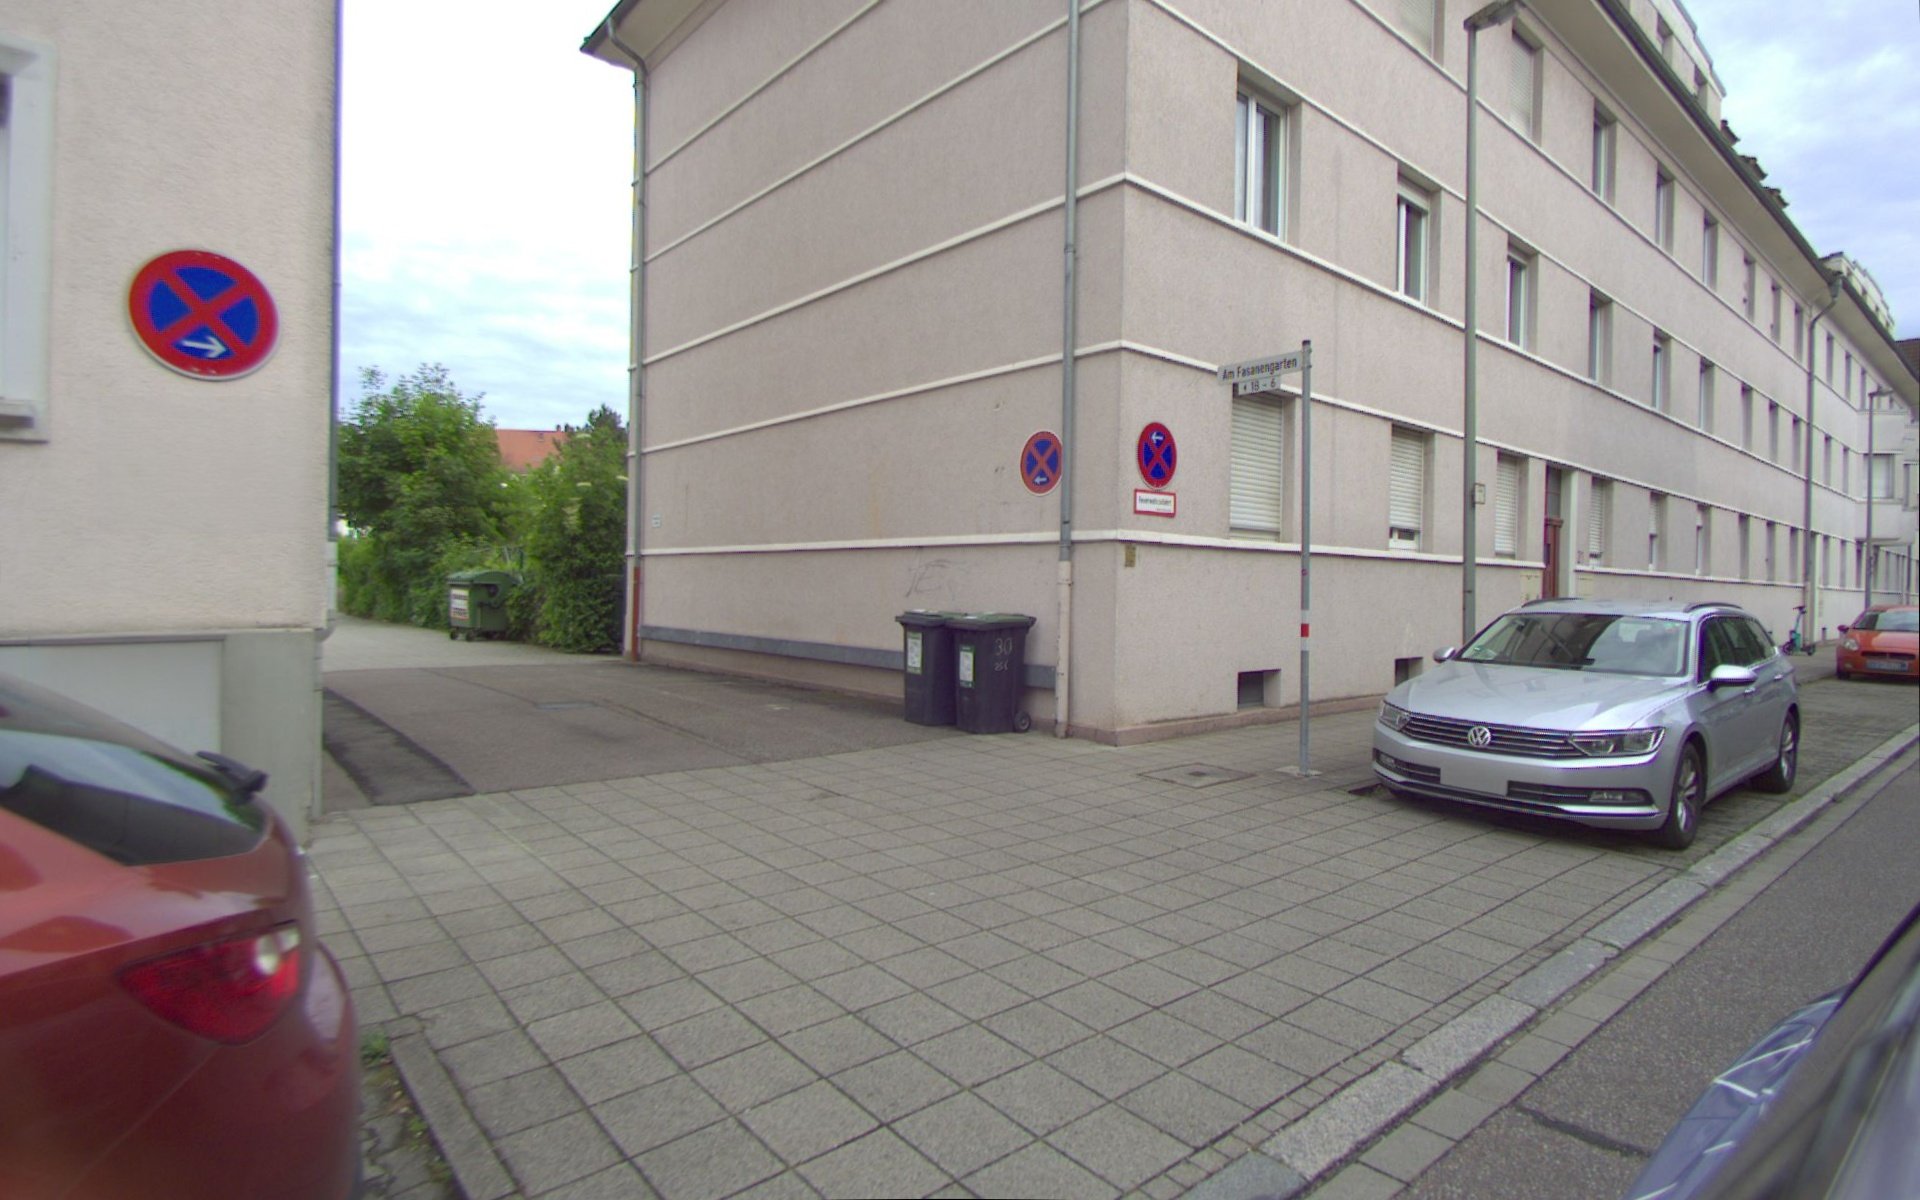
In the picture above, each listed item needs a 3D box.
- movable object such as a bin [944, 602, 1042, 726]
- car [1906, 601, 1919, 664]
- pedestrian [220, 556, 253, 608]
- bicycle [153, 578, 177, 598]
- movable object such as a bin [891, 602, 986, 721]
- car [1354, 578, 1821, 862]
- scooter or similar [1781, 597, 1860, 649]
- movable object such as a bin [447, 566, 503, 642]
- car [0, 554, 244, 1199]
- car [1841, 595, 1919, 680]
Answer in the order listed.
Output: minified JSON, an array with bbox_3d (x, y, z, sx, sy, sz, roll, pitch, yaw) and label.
[{"bbox_3d":[0.299,0.558,9.207,0.692,1.055,0.550,0,1,-38],"label":"movable object such as a bin"},{"bbox_3d":[23.160,0.752,23.523,3.252,1.430,1.352,0,1,-41],"label":"car"},{"bbox_3d":[-26.636,-0.676,37.262,0.960,1.889,0.976,1,1,-36],"label":"pedestrian"},{"bbox_3d":[-37.837,-0.565,48.175,0.726,0.902,1.621,0,1,-45],"label":"bicycle"},{"bbox_3d":[-0.204,0.555,9.553,0.692,1.055,0.550,0,1,-38],"label":"movable object such as a bin"},{"bbox_3d":[4.713,0.627,7.371,3.969,1.482,1.791,0,1,-41],"label":"car"},{"bbox_3d":[21.570,0.570,25.388,1.441,1.248,0.652,1,1,-5],"label":"scooter or similar"},{"bbox_3d":[-9.989,0.069,20.829,0.850,1.513,0.972,0,1,-38],"label":"movable object such as a bin"},{"bbox_3d":[-2.979,0.652,0.735,3.867,1.426,1.757,0,3,-41],"label":"car"},{"bbox_3d":[18.766,0.701,19.826,3.707,1.504,1.757,0,2,-41],"label":"car"}]
